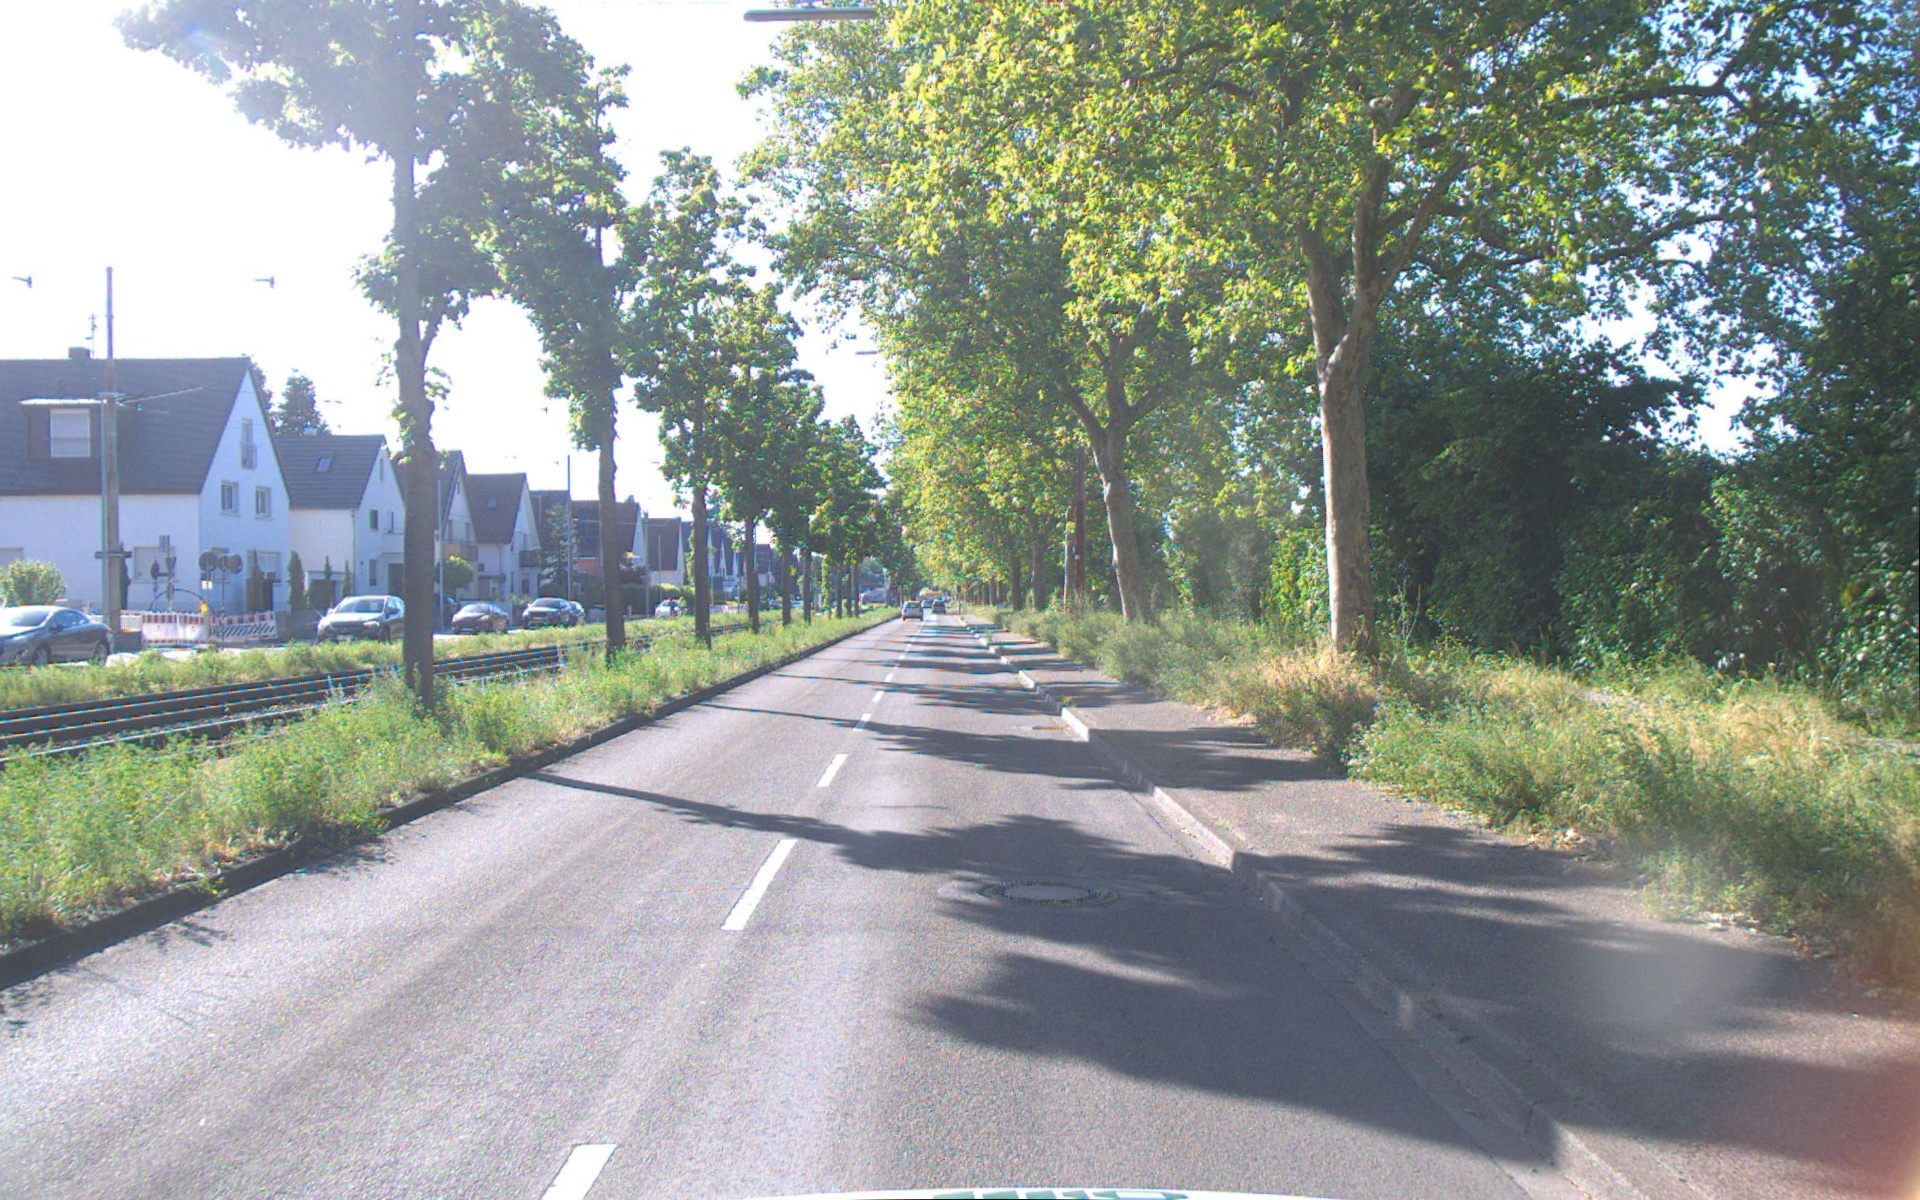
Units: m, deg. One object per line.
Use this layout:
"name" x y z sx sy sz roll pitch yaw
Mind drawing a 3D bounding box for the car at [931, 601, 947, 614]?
"car" -2.447 0.854 192.731 1.725 1.539 3.276 1 -1 0

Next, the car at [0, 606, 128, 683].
"car" -21.336 0.967 38.217 1.953 1.609 4.497 1 0 0

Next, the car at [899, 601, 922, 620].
"car" -3.748 0.826 126.541 1.703 1.425 3.276 1 -1 -1

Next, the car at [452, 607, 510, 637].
"car" -21.937 0.993 75.894 1.463 1.349 4.000 1 -1 1

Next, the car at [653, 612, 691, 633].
"car" -22.934 1.782 131.801 1.952 1.627 4.733 1 -1 3

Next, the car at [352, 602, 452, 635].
"car" -26.527 0.875 78.706 4.130 1.489 1.936 1 -1 -5

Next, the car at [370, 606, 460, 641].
"car" -27.458 1.179 83.498 3.909 1.699 1.998 1 -1 -5

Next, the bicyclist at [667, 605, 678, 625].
"bicyclist" -20.319 1.048 116.867 0.674 1.360 0.881 0 0 -1

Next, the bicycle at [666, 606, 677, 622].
"bicycle" -20.387 0.964 116.906 0.390 1.089 1.879 0 0 0

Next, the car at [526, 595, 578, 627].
"car" -21.746 0.593 88.340 1.610 1.595 4.386 1 -1 1

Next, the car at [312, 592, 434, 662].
"car" -16.989 0.773 48.096 1.876 1.916 4.523 1 -1 0

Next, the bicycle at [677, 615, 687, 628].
"bicycle" -20.191 1.572 120.275 0.390 0.944 2.096 0 0 0

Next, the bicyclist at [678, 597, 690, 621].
"bicyclist" -20.101 0.657 120.461 0.674 1.681 0.881 0 0 -1
